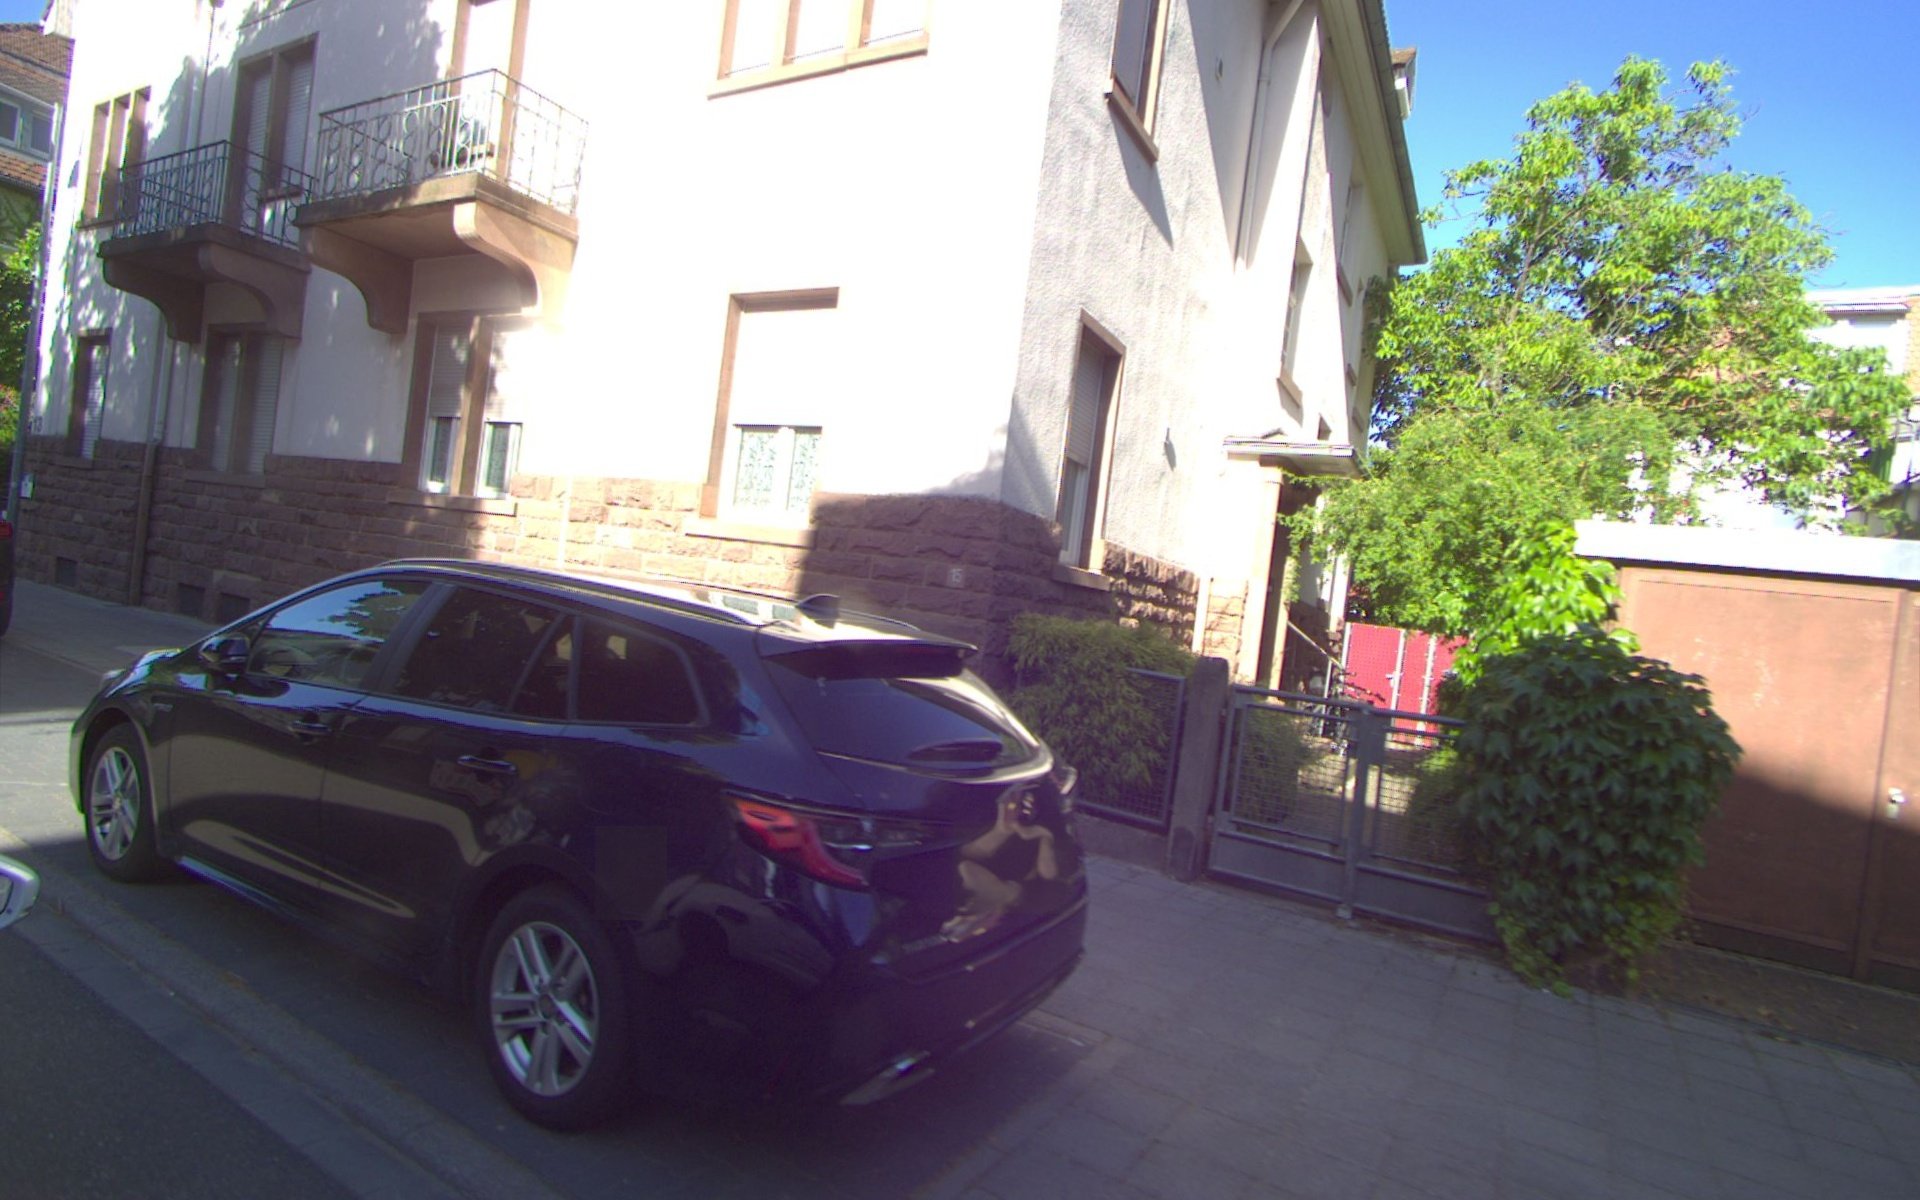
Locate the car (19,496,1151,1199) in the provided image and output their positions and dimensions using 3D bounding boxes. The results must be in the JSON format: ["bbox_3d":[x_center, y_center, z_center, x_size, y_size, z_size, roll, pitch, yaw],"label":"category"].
[{"bbox_3d":[-1.719,0.577,3.941,4.427,1.471,1.646,7,-1,31],"label":"car"}]

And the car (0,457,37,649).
[{"bbox_3d":[-10.859,-0.681,9.613,4.249,1.715,1.782,6,-3,32],"label":"car"}]
